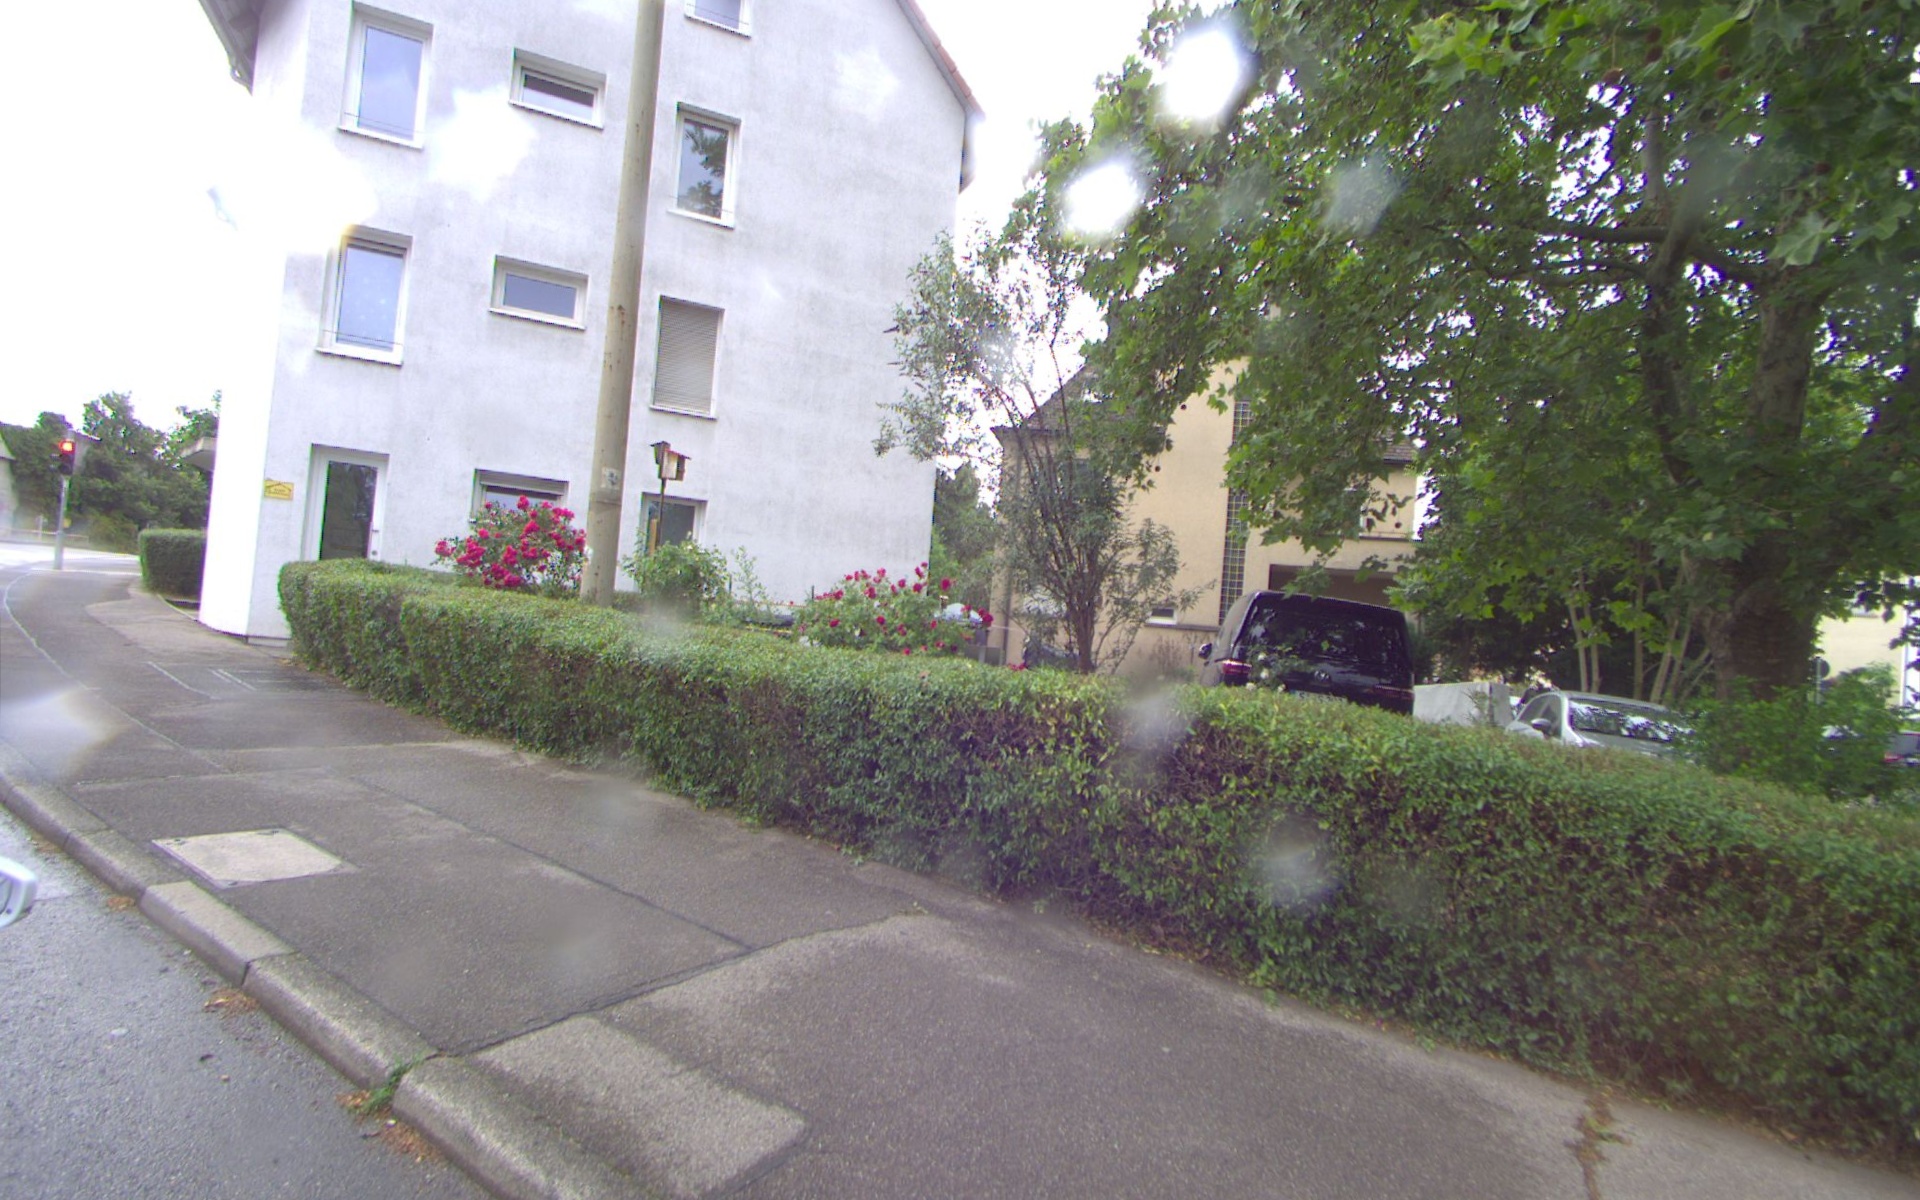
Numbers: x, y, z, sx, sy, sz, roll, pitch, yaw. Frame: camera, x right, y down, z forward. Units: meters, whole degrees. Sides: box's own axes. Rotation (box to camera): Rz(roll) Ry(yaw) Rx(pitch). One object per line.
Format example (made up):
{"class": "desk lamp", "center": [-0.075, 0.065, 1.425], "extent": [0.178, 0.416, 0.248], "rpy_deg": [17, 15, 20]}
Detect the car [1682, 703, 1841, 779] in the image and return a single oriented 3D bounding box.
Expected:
{"class": "car", "center": [26.307, 4.572, 33.250], "extent": [1.962, 1.861, 4.584], "rpy_deg": [6, -2, 9]}

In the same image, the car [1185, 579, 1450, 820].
{"class": "car", "center": [3.713, 0.994, 11.326], "extent": [1.962, 1.955, 4.419], "rpy_deg": [6, -1, 11]}

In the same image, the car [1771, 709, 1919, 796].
{"class": "car", "center": [25.221, 4.230, 28.004], "extent": [1.962, 1.861, 4.584], "rpy_deg": [6, -2, 9]}

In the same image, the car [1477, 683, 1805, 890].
{"class": "car", "center": [7.341, 1.885, 11.368], "extent": [1.788, 1.599, 4.003], "rpy_deg": [6, -2, 16]}

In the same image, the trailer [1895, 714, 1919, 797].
{"class": "trailer", "center": [24.676, 3.941, 23.991], "extent": [1.640, 2.037, 3.494], "rpy_deg": [6, -1, 8]}
